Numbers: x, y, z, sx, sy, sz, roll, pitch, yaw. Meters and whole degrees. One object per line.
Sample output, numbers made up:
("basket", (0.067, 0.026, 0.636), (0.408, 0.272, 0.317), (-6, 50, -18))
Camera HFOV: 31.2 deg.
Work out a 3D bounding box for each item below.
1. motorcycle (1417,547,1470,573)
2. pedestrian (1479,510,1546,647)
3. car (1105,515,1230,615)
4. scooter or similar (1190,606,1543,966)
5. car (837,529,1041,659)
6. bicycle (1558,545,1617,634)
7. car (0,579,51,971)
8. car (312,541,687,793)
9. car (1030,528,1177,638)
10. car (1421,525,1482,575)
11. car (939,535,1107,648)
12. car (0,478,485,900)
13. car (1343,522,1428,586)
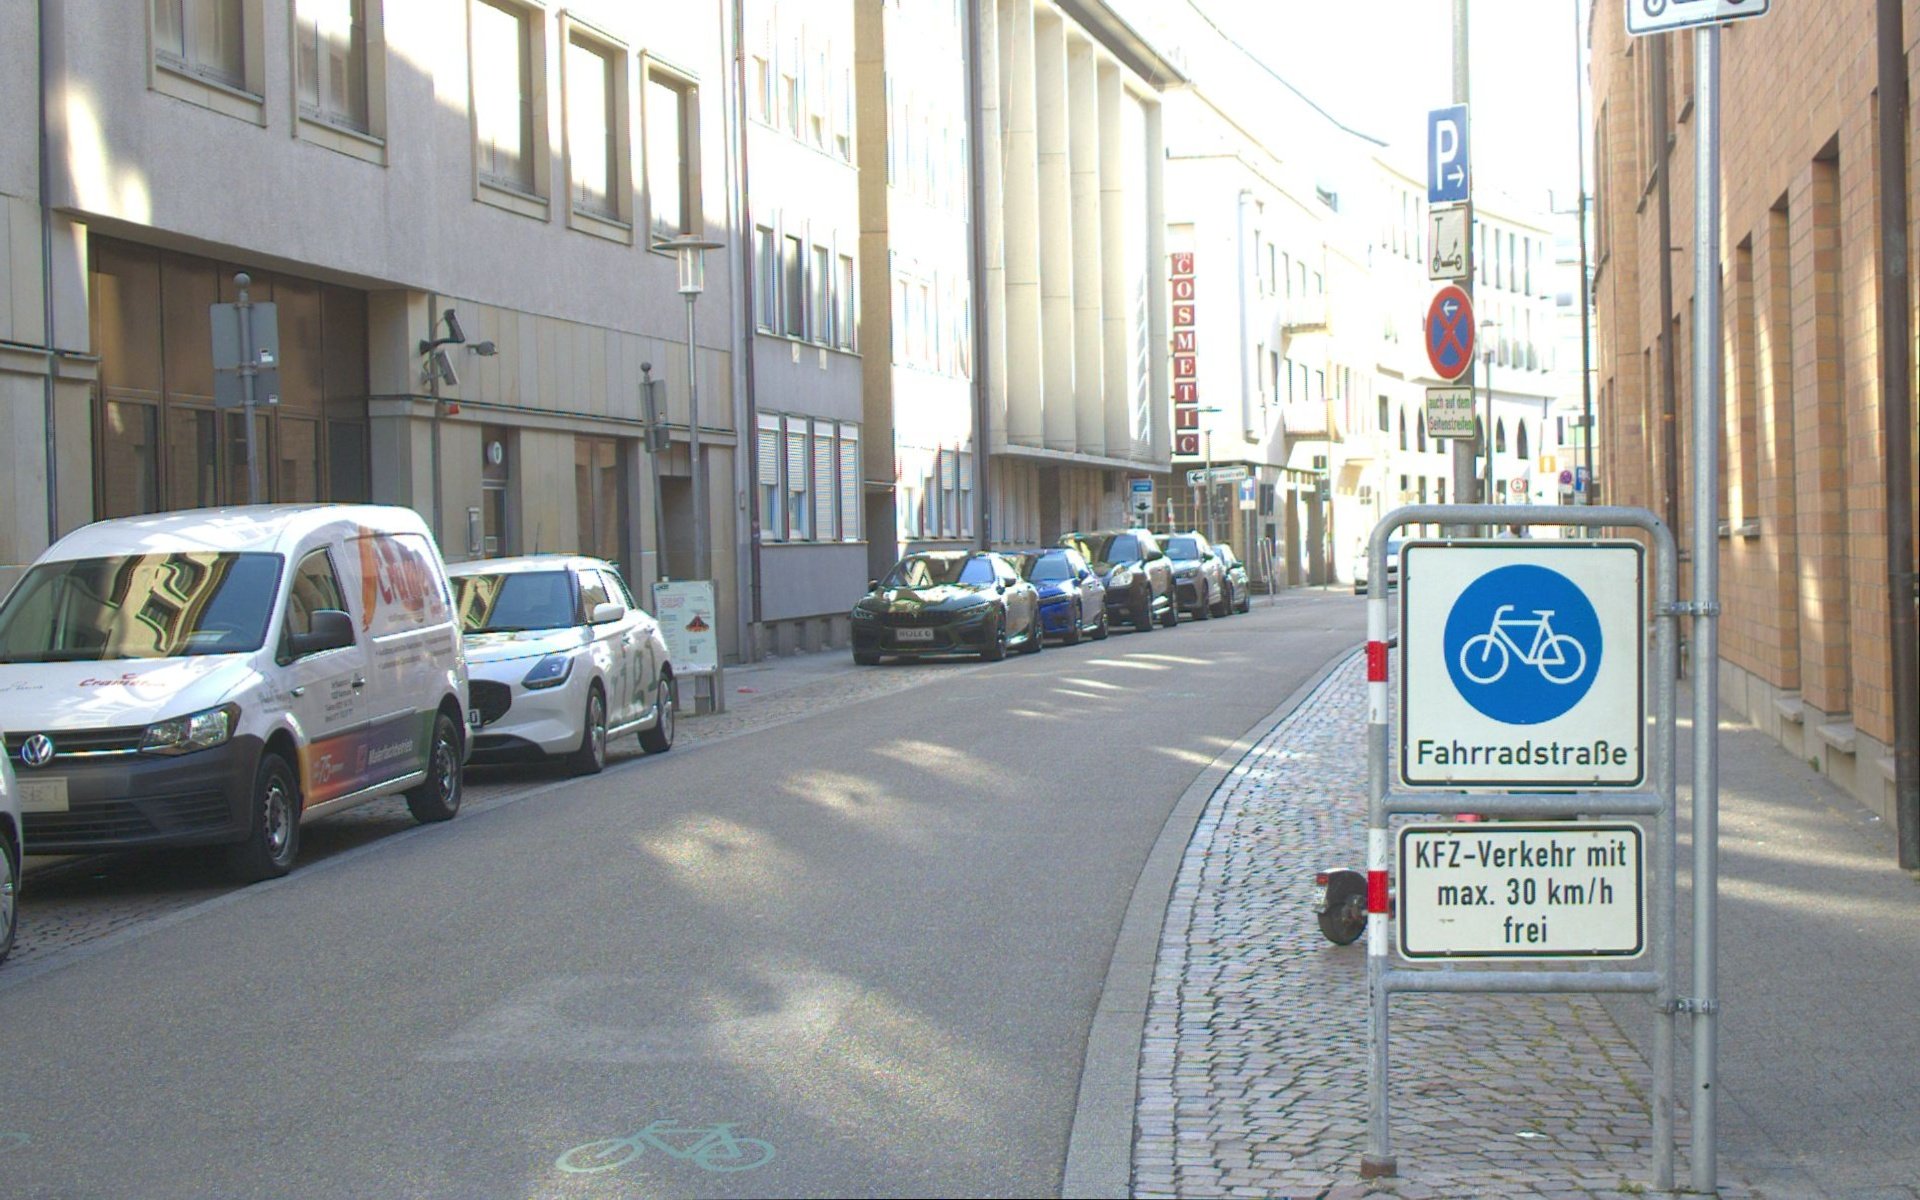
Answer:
("motorcycle", (16.292, -1.355, 115.806), (1.692, 0.856, 0.594), (1, 0, 17))
("pedestrian", (7.137, -0.286, 44.443), (0.760, 1.710, 0.821), (-3, 1, 9))
("car", (3.891, -0.682, 63.866), (1.890, 1.736, 4.389), (-2, 1, 9))
("scooter or similar", (1.539, 0.663, 12.887), (1.415, 1.231, 0.538), (-2, 2, -44))
("car", (-0.206, -0.116, 44.591), (1.890, 1.525, 4.727), (-2, 1, 9))
("bicycle", (8.259, -0.149, 45.317), (0.550, 1.099, 1.982), (-4, 1, 6))
("car", (-4.594, 0.737, 11.882), (1.737, 1.487, 3.800), (-3, 1, 2))
("car", (-3.131, 0.407, 24.127), (1.670, 1.517, 3.775), (-3, 1, 6))
("car", (2.410, -0.310, 56.497), (1.890, 1.670, 4.552), (-2, 1, 9))
("car", (15.830, -1.636, 110.619), (1.640, 1.512, 4.158), (-1, 1, 12))
("car", (0.981, -0.162, 50.796), (1.890, 1.525, 4.338), (-2, 1, 9))
("car", (-4.026, 0.367, 17.814), (1.900, 1.851, 4.733), (-3, 1, 6))
("car", (10.796, -1.178, 87.058), (1.715, 1.512, 4.158), (-1, 1, 12))
